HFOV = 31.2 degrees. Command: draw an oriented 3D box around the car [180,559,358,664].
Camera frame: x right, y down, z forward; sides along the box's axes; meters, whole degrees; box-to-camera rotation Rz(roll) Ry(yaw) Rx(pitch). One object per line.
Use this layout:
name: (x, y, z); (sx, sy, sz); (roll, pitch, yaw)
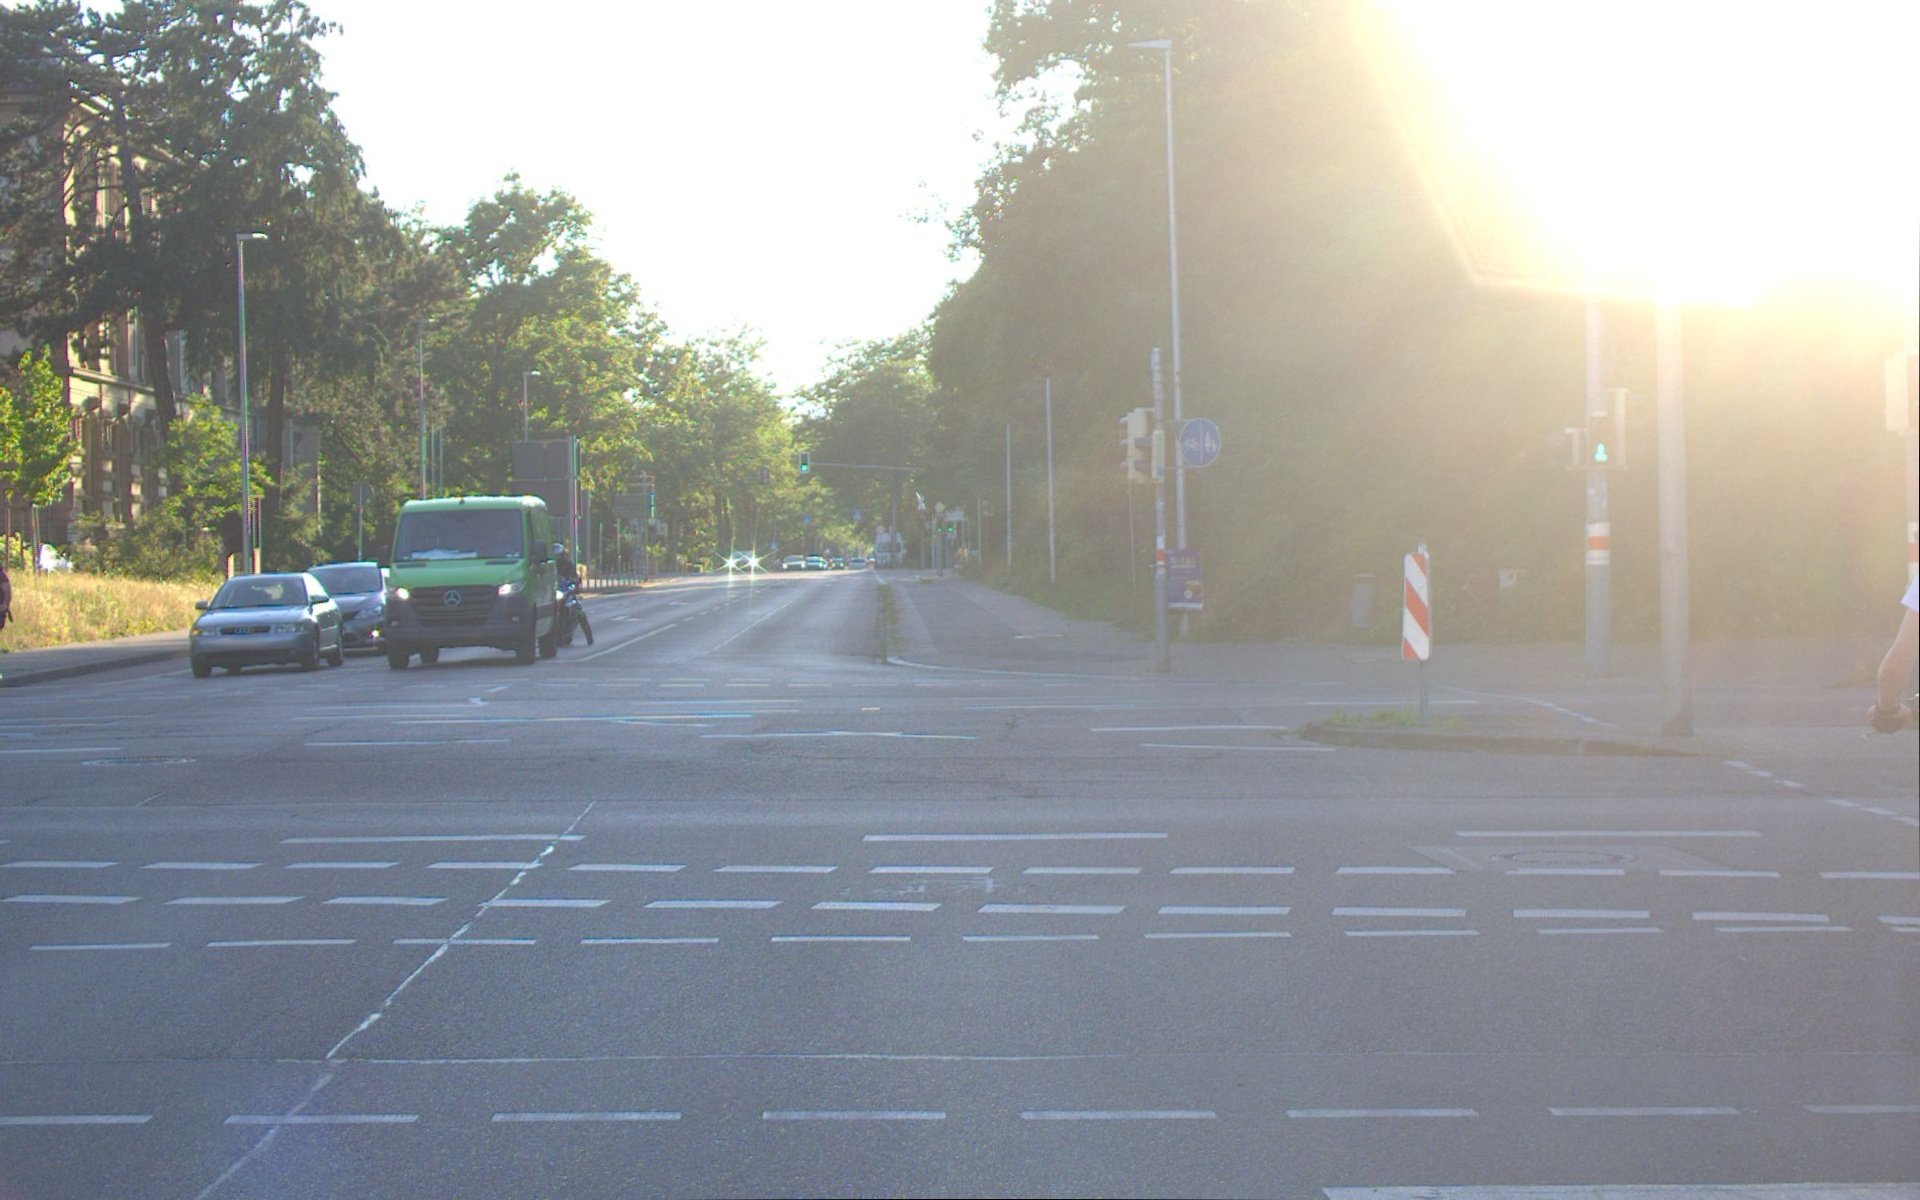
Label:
car: (-9.827, 0.132, 49.144); (1.730, 1.404, 4.140); (-1, 1, -1)

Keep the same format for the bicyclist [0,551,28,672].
bicyclist: (-12.227, 0.143, 43.323); (0.683, 1.507, 0.956); (-1, 1, -1)

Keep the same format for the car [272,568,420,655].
car: (-9.889, 0.165, 55.587); (1.764, 1.323, 3.643); (-1, 1, -1)

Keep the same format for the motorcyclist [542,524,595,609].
motorcyclist: (-6.337, -0.542, 55.636); (0.749, 1.353, 0.704); (-1, 0, -1)

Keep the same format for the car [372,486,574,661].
car: (-6.767, -0.394, 48.412); (2.038, 2.270, 5.941); (-1, 1, -1)

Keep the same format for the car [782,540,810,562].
car: (-12.132, -3.624, 254.437); (1.993, 1.634, 4.001); (-1, 1, -4)

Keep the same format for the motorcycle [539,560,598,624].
motorcycle: (-6.329, -0.141, 55.652); (0.754, 0.998, 1.879); (-1, 1, -1)

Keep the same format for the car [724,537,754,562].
car: (-13.659, -3.129, 212.320); (1.770, 1.469, 3.777); (-1, 1, -4)

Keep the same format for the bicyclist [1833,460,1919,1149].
bicyclist: (2.503, 0.465, 8.186); (0.603, 1.580, 0.910); (0, 1, -1)

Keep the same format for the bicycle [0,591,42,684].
bicycle: (-12.230, 0.468, 43.439); (0.686, 1.119, 2.169); (-1, 1, -1)

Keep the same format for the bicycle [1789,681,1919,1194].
bicycle: (2.509, 0.794, 8.146); (0.613, 1.134, 1.884); (0, 1, -1)
